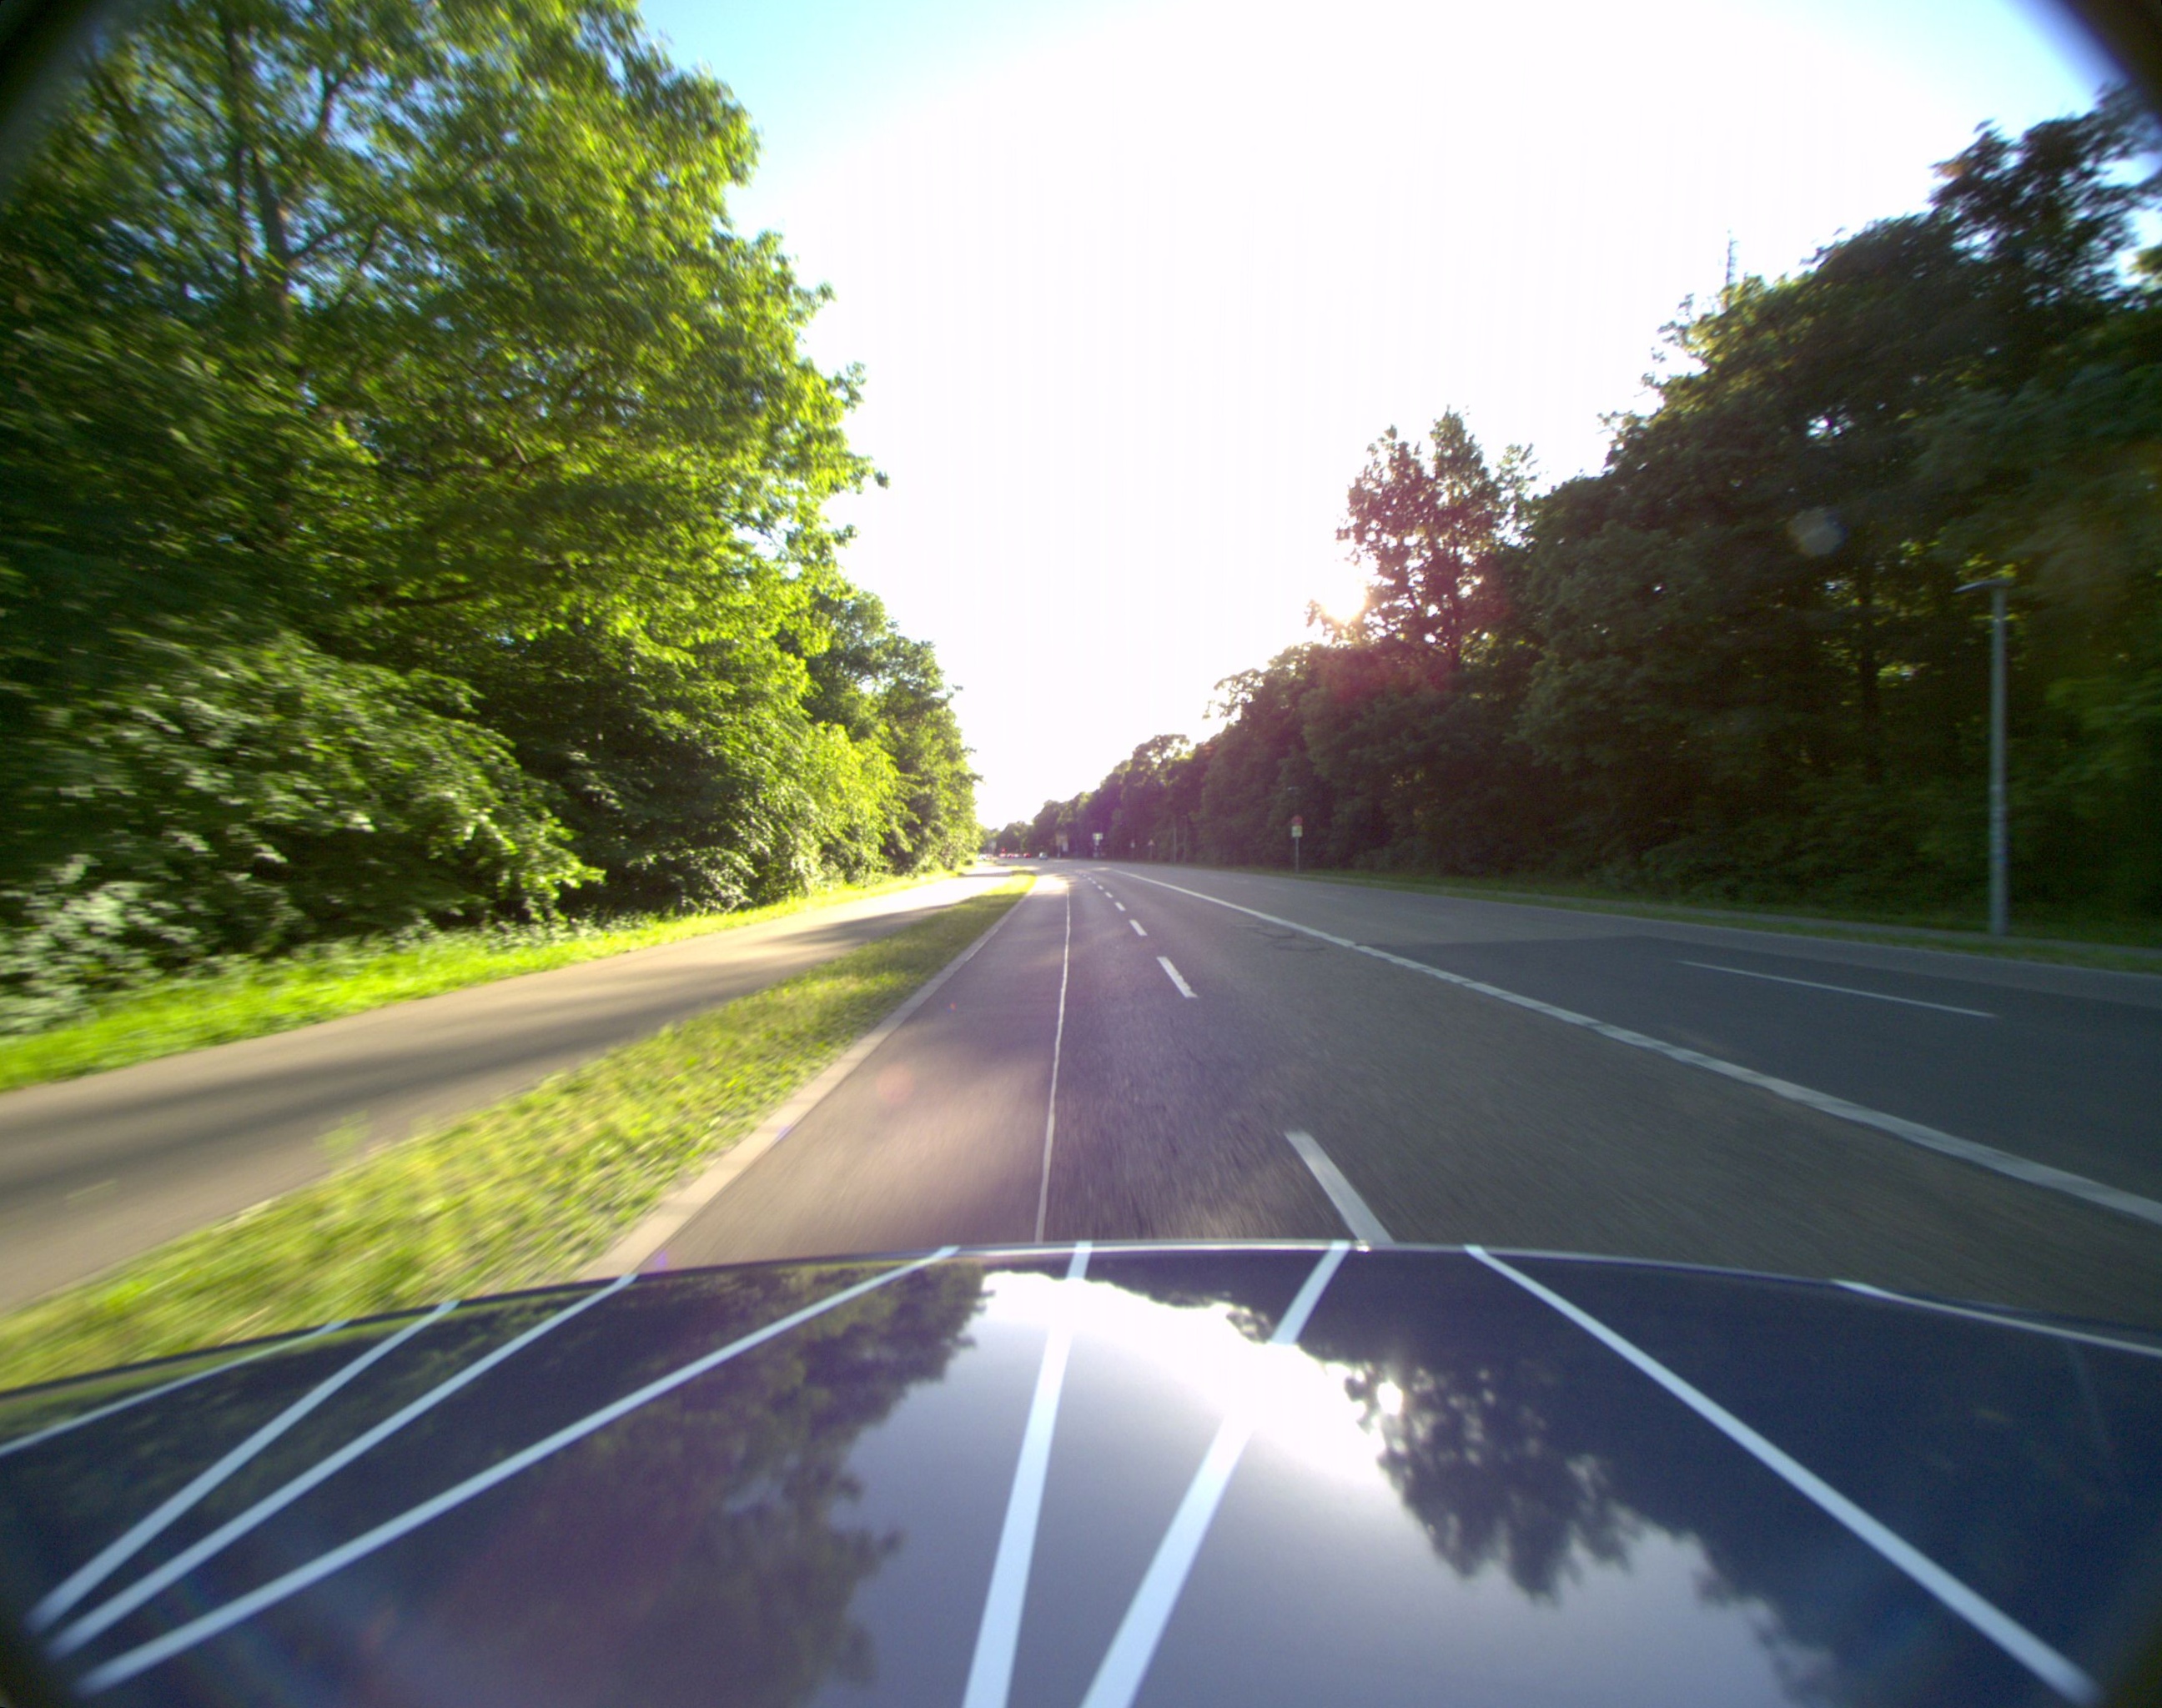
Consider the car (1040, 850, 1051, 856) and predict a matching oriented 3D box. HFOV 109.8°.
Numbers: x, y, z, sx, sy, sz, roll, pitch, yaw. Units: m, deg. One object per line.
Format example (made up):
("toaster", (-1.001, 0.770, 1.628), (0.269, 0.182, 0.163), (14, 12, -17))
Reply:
("car", (-8.828, -0.201, 188.075), (1.745, 1.449, 3.994), (-3, 0, -14))
